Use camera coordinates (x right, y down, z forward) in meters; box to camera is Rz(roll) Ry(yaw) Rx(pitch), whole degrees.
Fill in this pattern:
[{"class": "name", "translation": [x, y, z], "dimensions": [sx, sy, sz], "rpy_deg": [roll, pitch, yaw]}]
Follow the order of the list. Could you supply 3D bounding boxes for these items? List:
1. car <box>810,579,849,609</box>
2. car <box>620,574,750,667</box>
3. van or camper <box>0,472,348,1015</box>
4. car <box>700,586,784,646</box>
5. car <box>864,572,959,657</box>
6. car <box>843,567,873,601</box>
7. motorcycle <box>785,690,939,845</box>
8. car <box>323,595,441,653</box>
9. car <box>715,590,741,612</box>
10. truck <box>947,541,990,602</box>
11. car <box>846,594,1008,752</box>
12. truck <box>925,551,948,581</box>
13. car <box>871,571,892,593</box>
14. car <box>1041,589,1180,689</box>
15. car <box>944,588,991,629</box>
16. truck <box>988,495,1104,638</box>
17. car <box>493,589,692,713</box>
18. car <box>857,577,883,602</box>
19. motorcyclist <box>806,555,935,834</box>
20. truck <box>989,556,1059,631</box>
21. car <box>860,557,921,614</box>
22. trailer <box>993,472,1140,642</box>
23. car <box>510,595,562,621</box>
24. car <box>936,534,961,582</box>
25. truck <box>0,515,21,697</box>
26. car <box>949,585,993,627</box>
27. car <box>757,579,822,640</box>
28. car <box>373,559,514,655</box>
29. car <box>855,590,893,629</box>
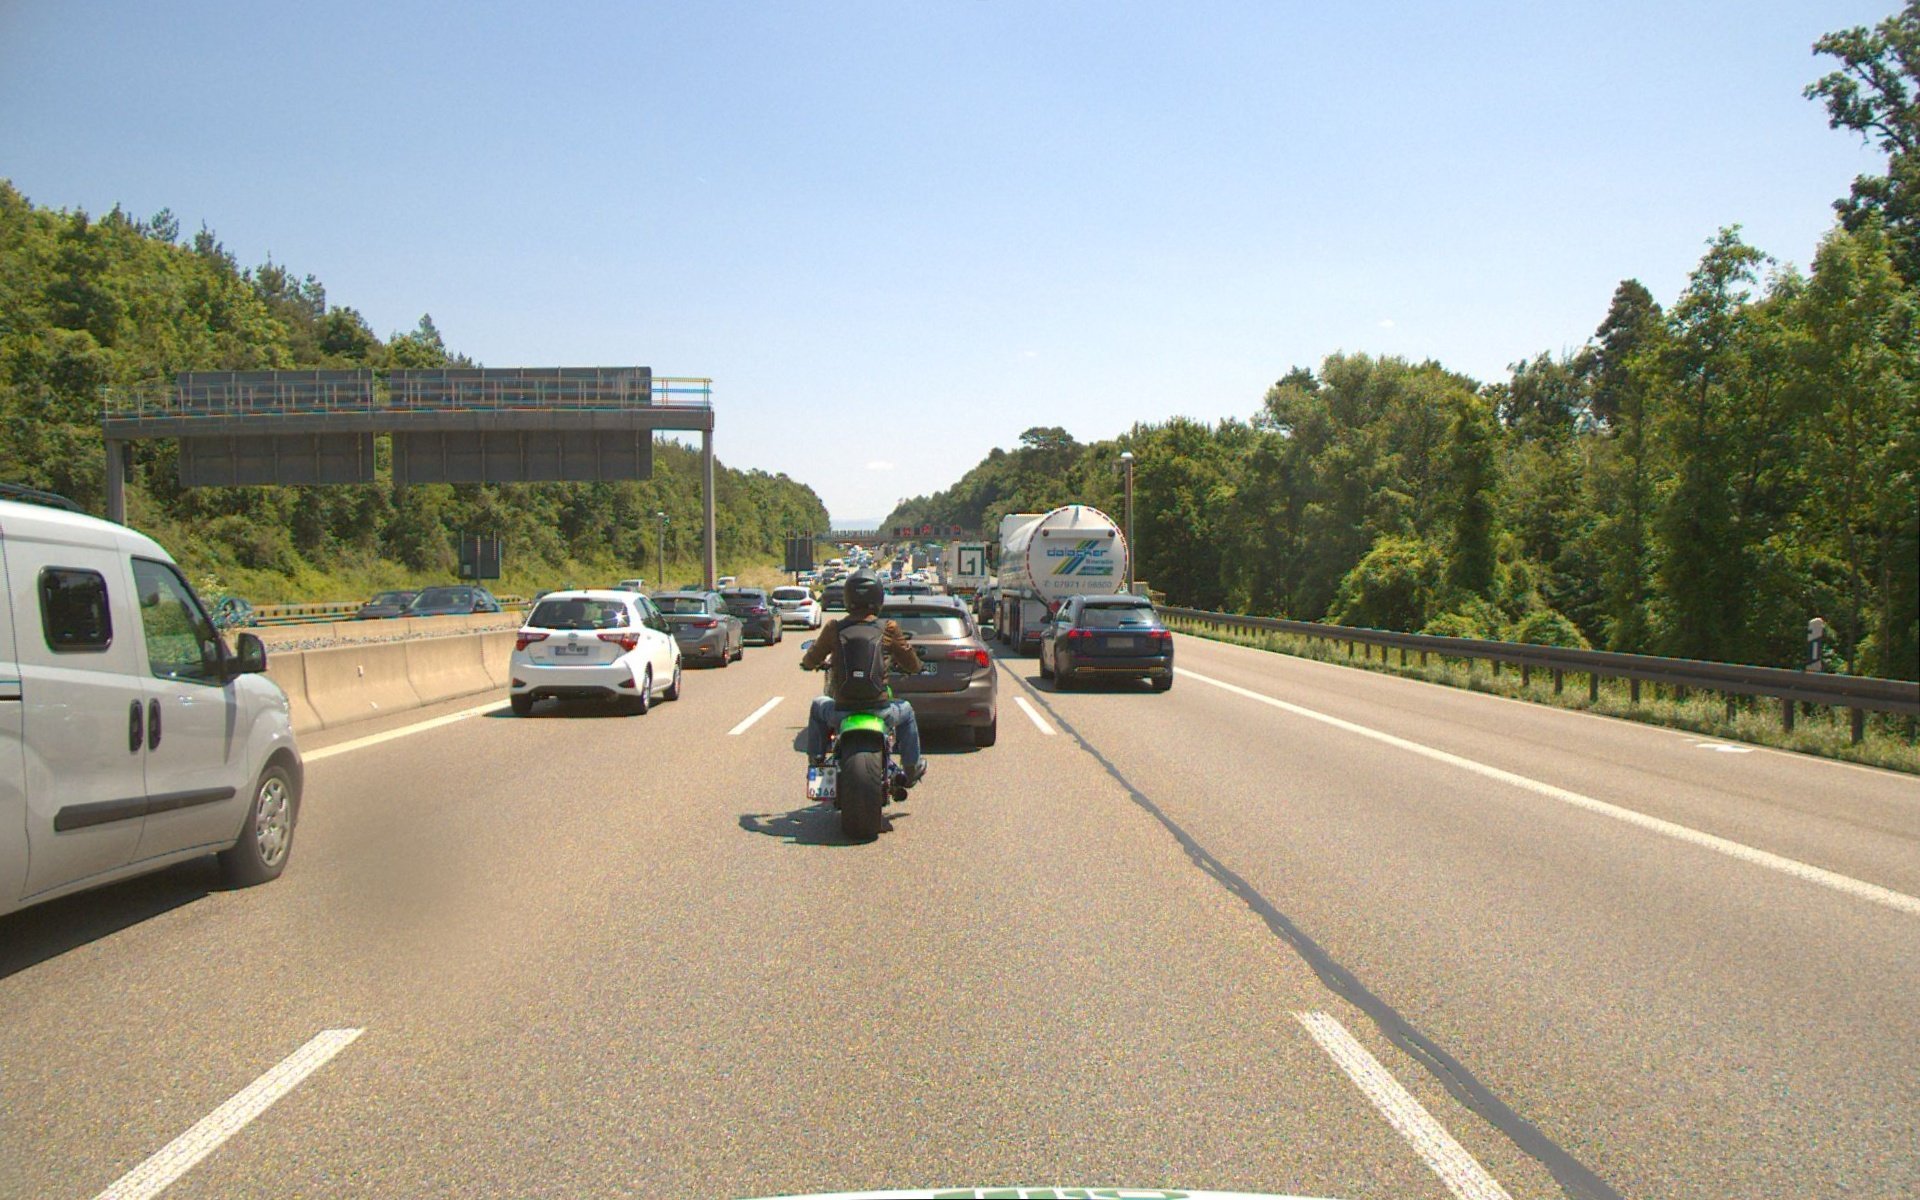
[{"class": "car", "translation": [-6.665, -0.306, 85.013], "dimensions": [1.728, 1.467, 3.999], "rpy_deg": [0, -1, -1]}, {"class": "car", "translation": [-5.386, 0.410, 32.900], "dimensions": [1.953, 1.713, 4.328], "rpy_deg": [0, -1, -1]}, {"class": "van or camper", "translation": [-4.295, 0.500, 6.897], "dimensions": [1.815, 1.913, 4.560], "rpy_deg": [1, 0, -1]}, {"class": "car", "translation": [-5.696, 0.420, 43.589], "dimensions": [1.954, 1.490, 3.996], "rpy_deg": [1, -1, -4]}, {"class": "car", "translation": [-1.076, 0.332, 36.227], "dimensions": [1.953, 1.741, 3.998], "rpy_deg": [1, -1, -2]}, {"class": "car", "translation": [-6.243, -0.945, 101.318], "dimensions": [1.627, 2.012, 3.999], "rpy_deg": [0, 0, -1]}, {"class": "motorcycle", "translation": [-0.617, 1.070, 11.097], "dimensions": [0.917, 0.807, 2.298], "rpy_deg": [0, 0, -1]}, {"class": "car", "translation": [-16.245, 0.673, 46.689], "dimensions": [1.953, 1.546, 3.999], "rpy_deg": [0, -1, -1]}, {"class": "car", "translation": [-22.590, 0.112, 161.210], "dimensions": [1.953, 2.049, 4.471], "rpy_deg": [0, -1, -1]}, {"class": "truck", "translation": [0.608, -1.861, 112.374], "dimensions": [2.794, 3.888, 7.188], "rpy_deg": [0, -1, 1]}, {"class": "car", "translation": [-0.359, 0.684, 17.589], "dimensions": [1.509, 1.475, 3.999], "rpy_deg": [0, 0, -1]}, {"class": "truck", "translation": [-2.951, -4.115, 203.328], "dimensions": [2.642, 3.465, 10.475], "rpy_deg": [-1, 0, -1]}, {"class": "car", "translation": [-7.528, -1.722, 159.150], "dimensions": [1.953, 2.049, 3.999], "rpy_deg": [-1, 0, -2]}, {"class": "car", "translation": [2.390, 0.618, 27.295], "dimensions": [1.756, 1.484, 4.622], "rpy_deg": [0, -1, -1]}, {"class": "car", "translation": [0.274, 0.359, 66.170], "dimensions": [1.740, 1.554, 3.998], "rpy_deg": [0, -1, -1]}, {"class": "truck", "translation": [2.329, -0.834, 46.766], "dimensions": [2.771, 3.735, 6.427], "rpy_deg": [0, -1, -1]}, {"class": "car", "translation": [-4.624, 0.624, 21.352], "dimensions": [1.740, 1.435, 3.998], "rpy_deg": [0, -1, -1]}, {"class": "car", "translation": [-6.210, -0.715, 113.939], "dimensions": [1.627, 1.627, 3.999], "rpy_deg": [0, 0, -1]}, {"class": "motorcyclist", "translation": [-0.563, 0.592, 10.754], "dimensions": [0.782, 1.717, 1.016], "rpy_deg": [0, -1, -2]}, {"class": "truck", "translation": [2.684, -0.293, 71.060], "dimensions": [2.340, 3.031, 8.248], "rpy_deg": [0, 0, -2]}, {"class": "car", "translation": [-2.324, -0.458, 55.425], "dimensions": [1.953, 1.806, 3.998], "rpy_deg": [1, -1, -2]}, {"class": "trailer", "translation": [2.461, -0.888, 41.892], "dimensions": [2.771, 3.735, 10.728], "rpy_deg": [0, -1, -1]}, {"class": "car", "translation": [-24.118, 0.464, 94.240], "dimensions": [1.953, 1.473, 3.999], "rpy_deg": [0, -1, -1]}, {"class": "car", "translation": [-1.064, -3.714, 149.017], "dimensions": [2.123, 3.961, 9.326], "rpy_deg": [0, -1, -1]}, {"class": "truck", "translation": [-22.641, 0.084, 33.620], "dimensions": [2.638, 4.059, 7.987], "rpy_deg": [0, -1, -1]}, {"class": "car", "translation": [0.511, 0.310, 82.442], "dimensions": [1.954, 2.049, 3.997], "rpy_deg": [1, -1, -3]}, {"class": "car", "translation": [-5.889, 0.341, 57.401], "dimensions": [1.953, 2.049, 3.998], "rpy_deg": [1, -1, -2]}, {"class": "car", "translation": [-11.639, 0.174, 37.540], "dimensions": [1.953, 2.049, 3.999], "rpy_deg": [0, -1, -1]}, {"class": "car", "translation": [-4.642, 0.540, 89.643], "dimensions": [1.953, 2.049, 3.998], "rpy_deg": [0, -1, -1]}]
